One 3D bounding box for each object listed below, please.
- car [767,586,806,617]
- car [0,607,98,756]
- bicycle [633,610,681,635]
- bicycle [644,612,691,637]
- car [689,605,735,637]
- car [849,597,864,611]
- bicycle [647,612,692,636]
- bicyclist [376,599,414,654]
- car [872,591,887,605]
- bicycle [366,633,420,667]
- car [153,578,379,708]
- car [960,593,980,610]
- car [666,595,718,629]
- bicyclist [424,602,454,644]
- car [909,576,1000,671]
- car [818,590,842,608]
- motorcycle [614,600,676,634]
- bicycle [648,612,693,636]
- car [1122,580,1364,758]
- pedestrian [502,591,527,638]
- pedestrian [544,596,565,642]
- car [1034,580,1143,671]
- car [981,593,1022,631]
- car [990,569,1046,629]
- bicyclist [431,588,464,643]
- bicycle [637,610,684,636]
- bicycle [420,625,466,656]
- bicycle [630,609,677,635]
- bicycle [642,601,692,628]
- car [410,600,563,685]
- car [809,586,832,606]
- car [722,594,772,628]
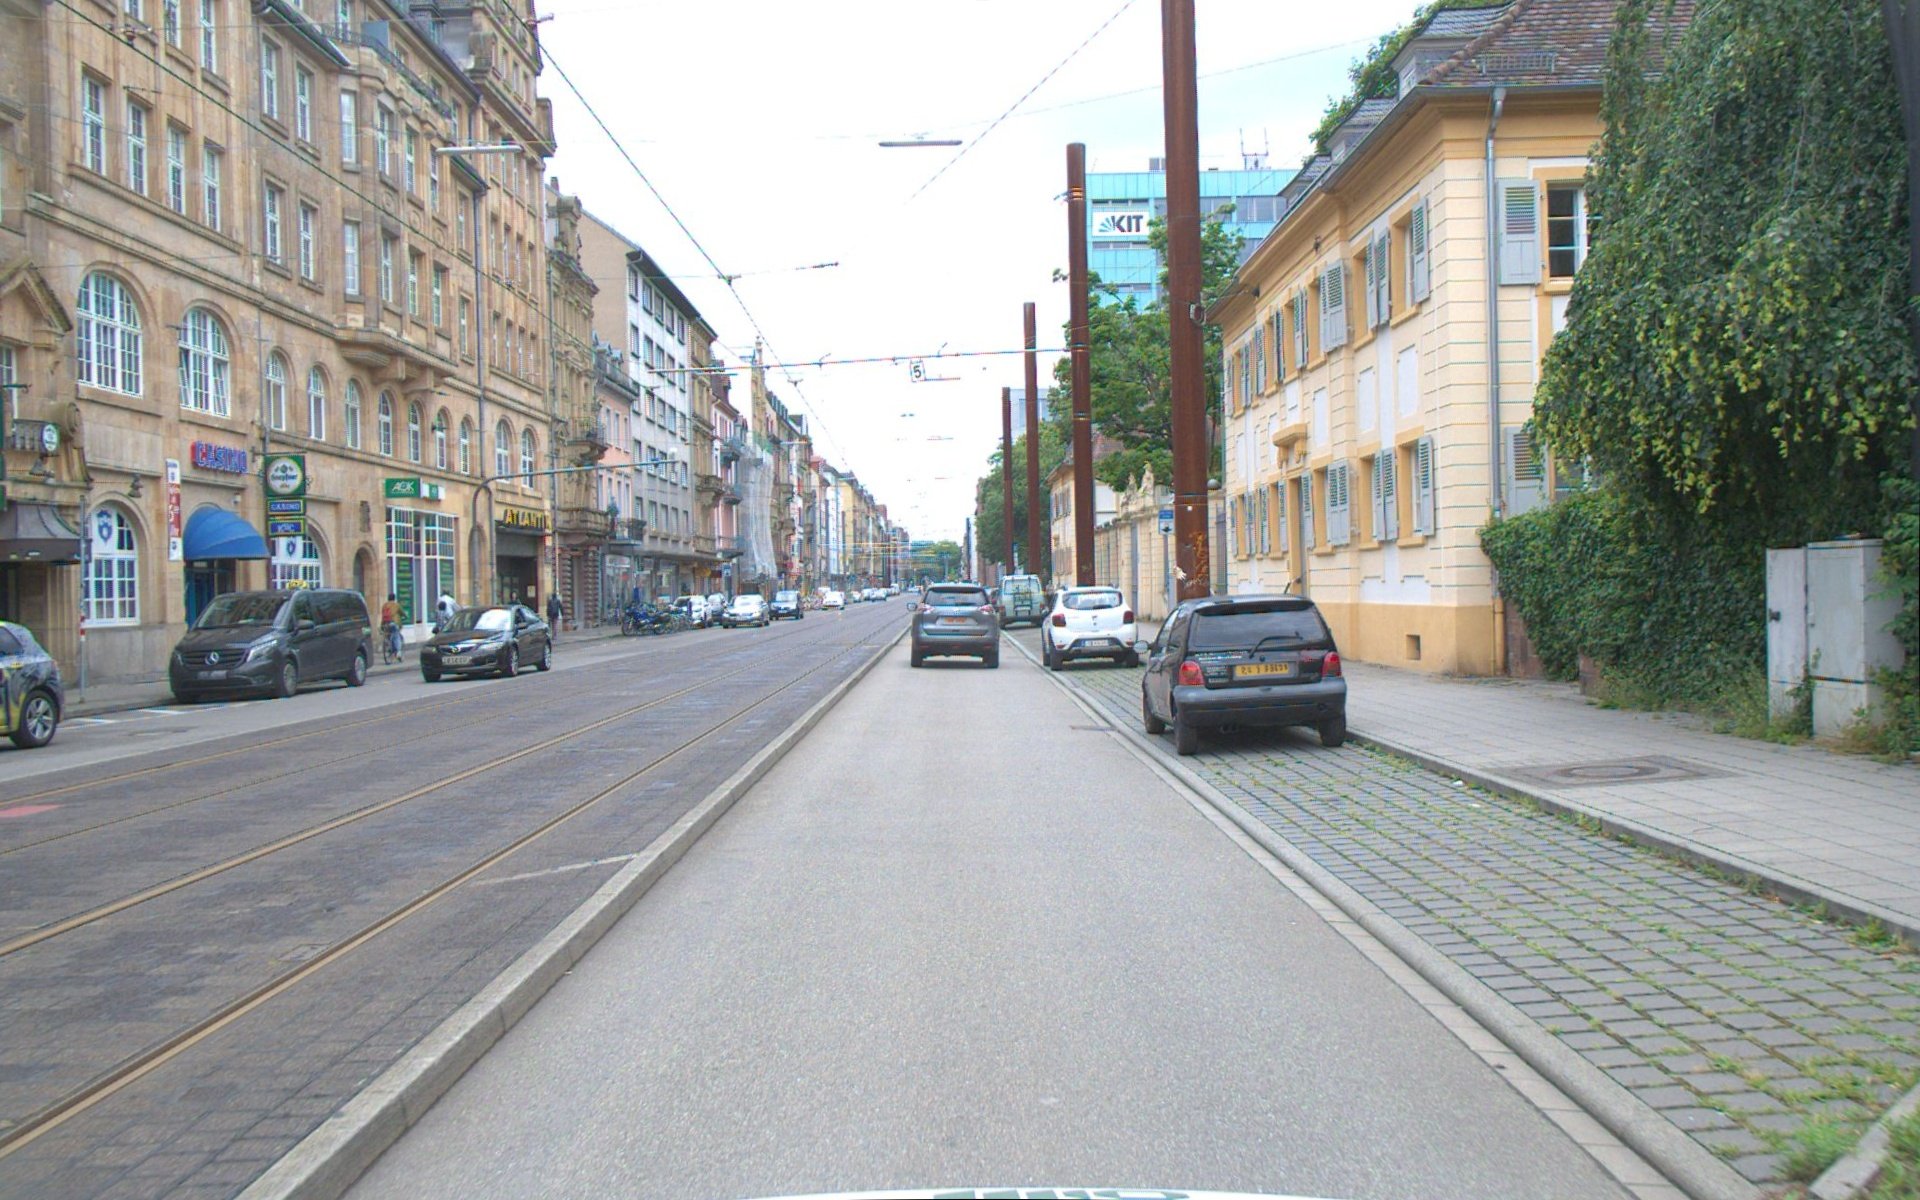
[{"bbox_3d":[-9.804,0.079,93.639,1.723,1.701,4.614,-1,0,0],"label":"car"},{"bbox_3d":[-11.061,0.917,16.843,1.859,1.537,4.431,-3,0,6],"label":"car"},{"bbox_3d":[-12.677,0.940,69.213,1.929,1.018,0.462,-1,0,-8],"label":"bicycle"},{"bbox_3d":[-12.633,1.068,71.471,1.929,1.018,0.462,-1,0,-8],"label":"bicycle"},{"bbox_3d":[-12.653,1.042,84.561,1.740,1.531,4.401,-1,0,-1],"label":"car"},{"bbox_3d":[-13.250,0.514,211.912,1.954,1.663,3.997,-1,-1,-4],"label":"car"},{"bbox_3d":[-12.744,1.061,72.616,1.929,1.018,0.462,-1,0,-8],"label":"bicycle"},{"bbox_3d":[-14.091,0.645,41.257,0.598,1.347,0.972,-1,0,-1],"label":"bicyclist"},{"bbox_3d":[-10.471,-0.279,215.008,1.954,1.663,3.997,-1,-1,-4],"label":"car"},{"bbox_3d":[-14.083,1.238,41.152,0.570,0.758,2.250,-1,0,0],"label":"bicycle"},{"bbox_3d":[-12.272,0.698,29.675,1.861,2.011,5.096,-4,0,-1],"label":"car"},{"bbox_3d":[0.871,0.125,146.176,1.740,1.445,4.134,-1,0,-1],"label":"car"},{"bbox_3d":[-12.641,0.550,78.158,1.740,1.531,4.401,-1,0,-1],"label":"car"},{"bbox_3d":[-14.364,0.619,45.567,0.598,1.137,0.659,-1,0,-1],"label":"bicyclist"},{"bbox_3d":[-0.119,0.455,34.476,1.714,1.786,3.923,3,0,-1],"label":"car"},{"bbox_3d":[-10.651,-0.086,135.209,1.653,1.445,4.134,-1,0,-1],"label":"car"},{"bbox_3d":[-12.681,0.676,66.647,2.319,1.325,0.872,-1,0,-37],"label":"motorcycle"},{"bbox_3d":[-12.790,1.063,73.196,1.929,1.018,0.462,-1,0,-8],"label":"bicycle"},{"bbox_3d":[2.681,0.594,16.515,1.604,1.458,3.930,-4,0,-1],"label":"car"},{"bbox_3d":[-15.902,0.514,59.000,0.671,1.641,0.742,-1,0,-1],"label":"pedestrian"},{"bbox_3d":[-14.542,0.674,59.297,0.556,1.626,0.718,-1,0,-1],"label":"pedestrian"},{"bbox_3d":[2.497,0.474,33.002,1.720,1.601,3.930,-4,0,-1],"label":"car"},{"bbox_3d":[1.957,0.548,78.801,1.714,1.623,3.923,-4,0,-1],"label":"car"},{"bbox_3d":[2.222,-0.042,64.602,1.814,2.151,4.984,-4,0,-1],"label":"car"},{"bbox_3d":[-14.380,0.433,46.388,0.598,1.513,0.972,-1,0,-1],"label":"bicyclist"},{"bbox_3d":[-12.727,0.974,70.298,1.929,1.018,0.462,-1,0,-8],"label":"bicycle"},{"bbox_3d":[-14.353,1.115,45.966,0.570,0.758,2.250,-1,0,0],"label":"bicycle"},{"bbox_3d":[-12.698,0.927,68.575,1.885,1.018,0.462,-1,0,-8],"label":"bicycle"},{"bbox_3d":[-13.158,0.643,74.338,2.189,1.146,0.503,-1,0,-8],"label":"bicycle"},{"bbox_3d":[-9.475,0.796,33.489,1.790,1.458,4.666,-4,0,-1],"label":"car"},{"bbox_3d":[-12.949,-0.350,153.594,1.954,1.736,3.997,-1,-1,-4],"label":"car"},{"bbox_3d":[-9.771,0.478,76.218,1.723,1.474,4.614,-1,0,0],"label":"car"}]
